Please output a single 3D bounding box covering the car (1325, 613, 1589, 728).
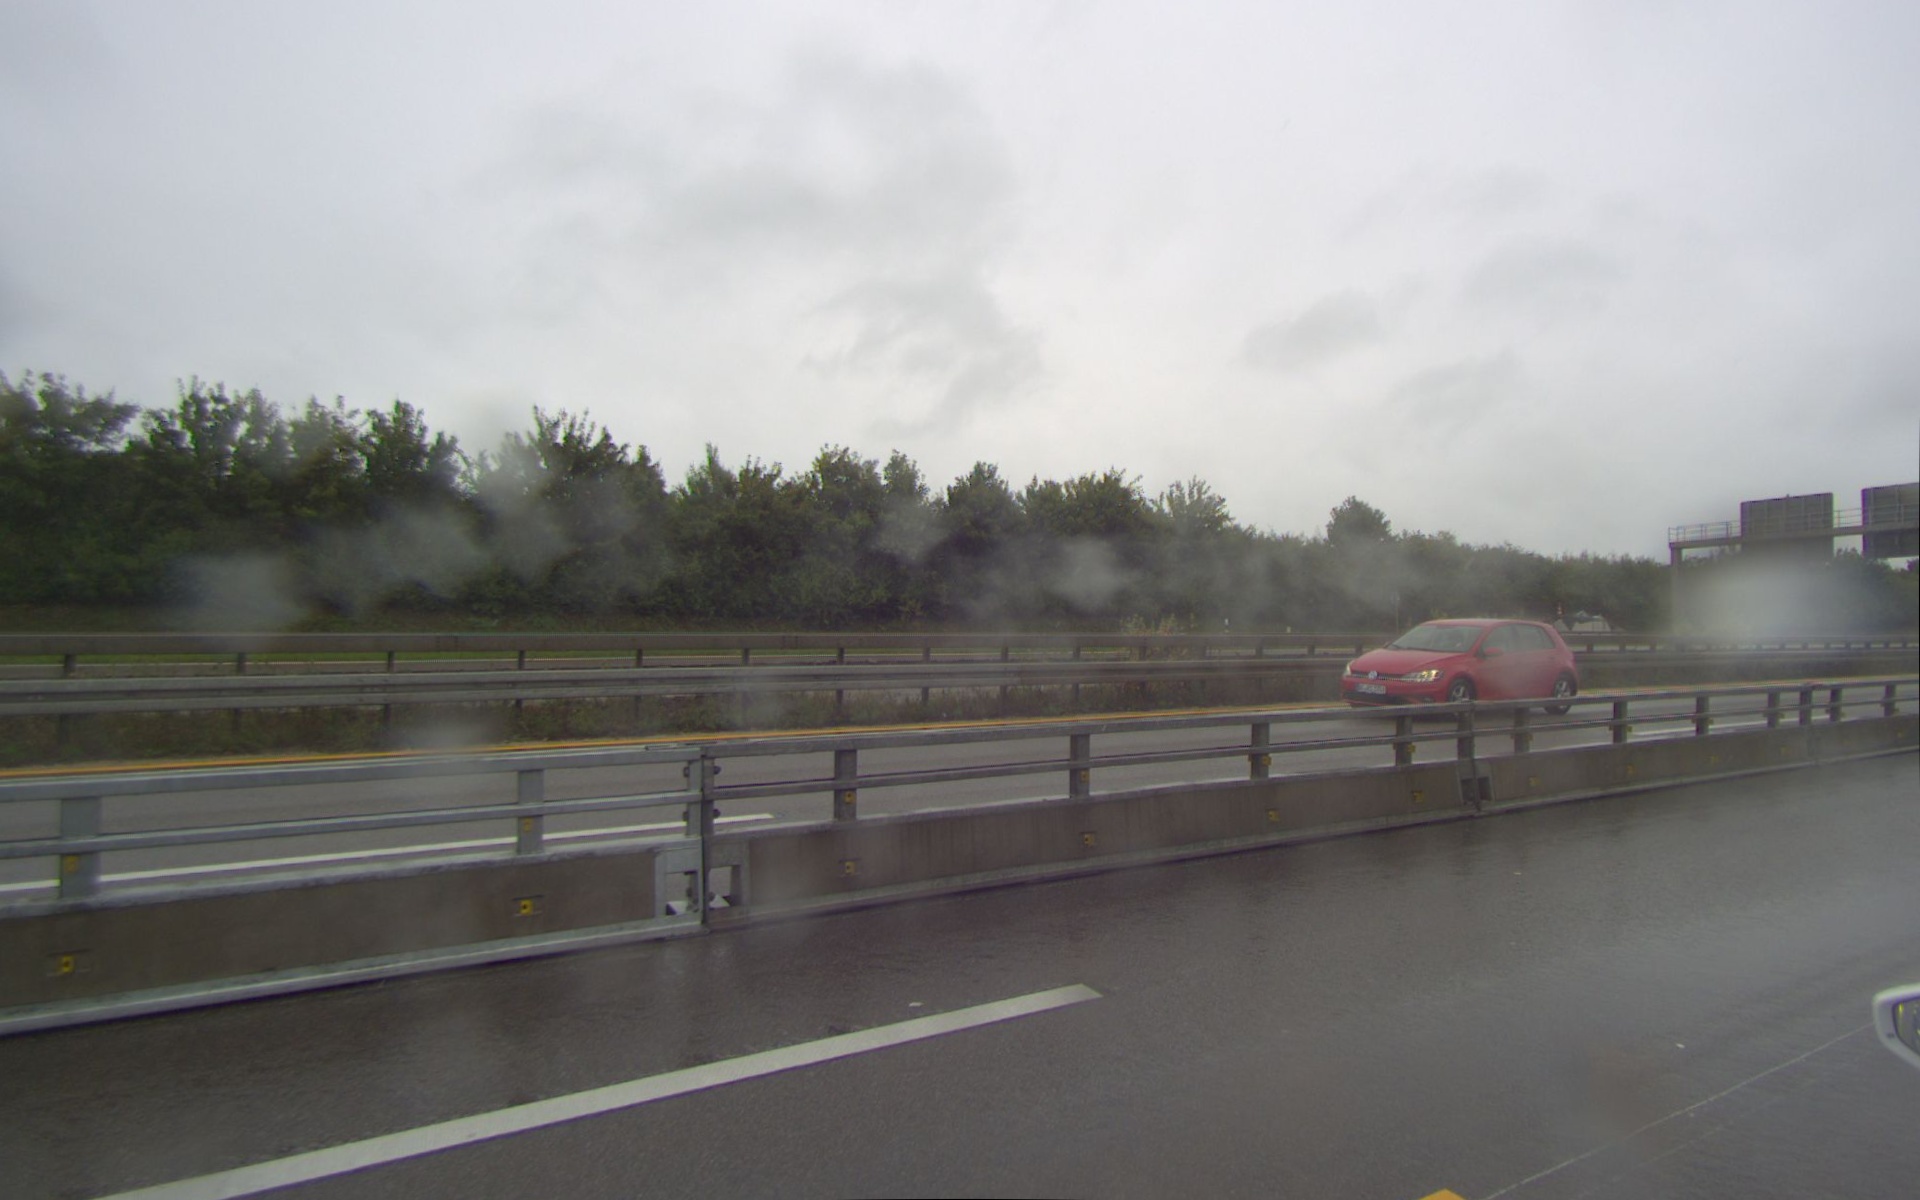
[{"bbox_3d":[7.676,1.021,15.410,4.168,1.524,1.600,2,0,-31],"label":"car"}]

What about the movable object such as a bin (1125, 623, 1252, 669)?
[{"bbox_3d":[8.016,1.604,35.232,3.953,1.444,2.116,2,0,-30],"label":"movable object such as a bin"}]
